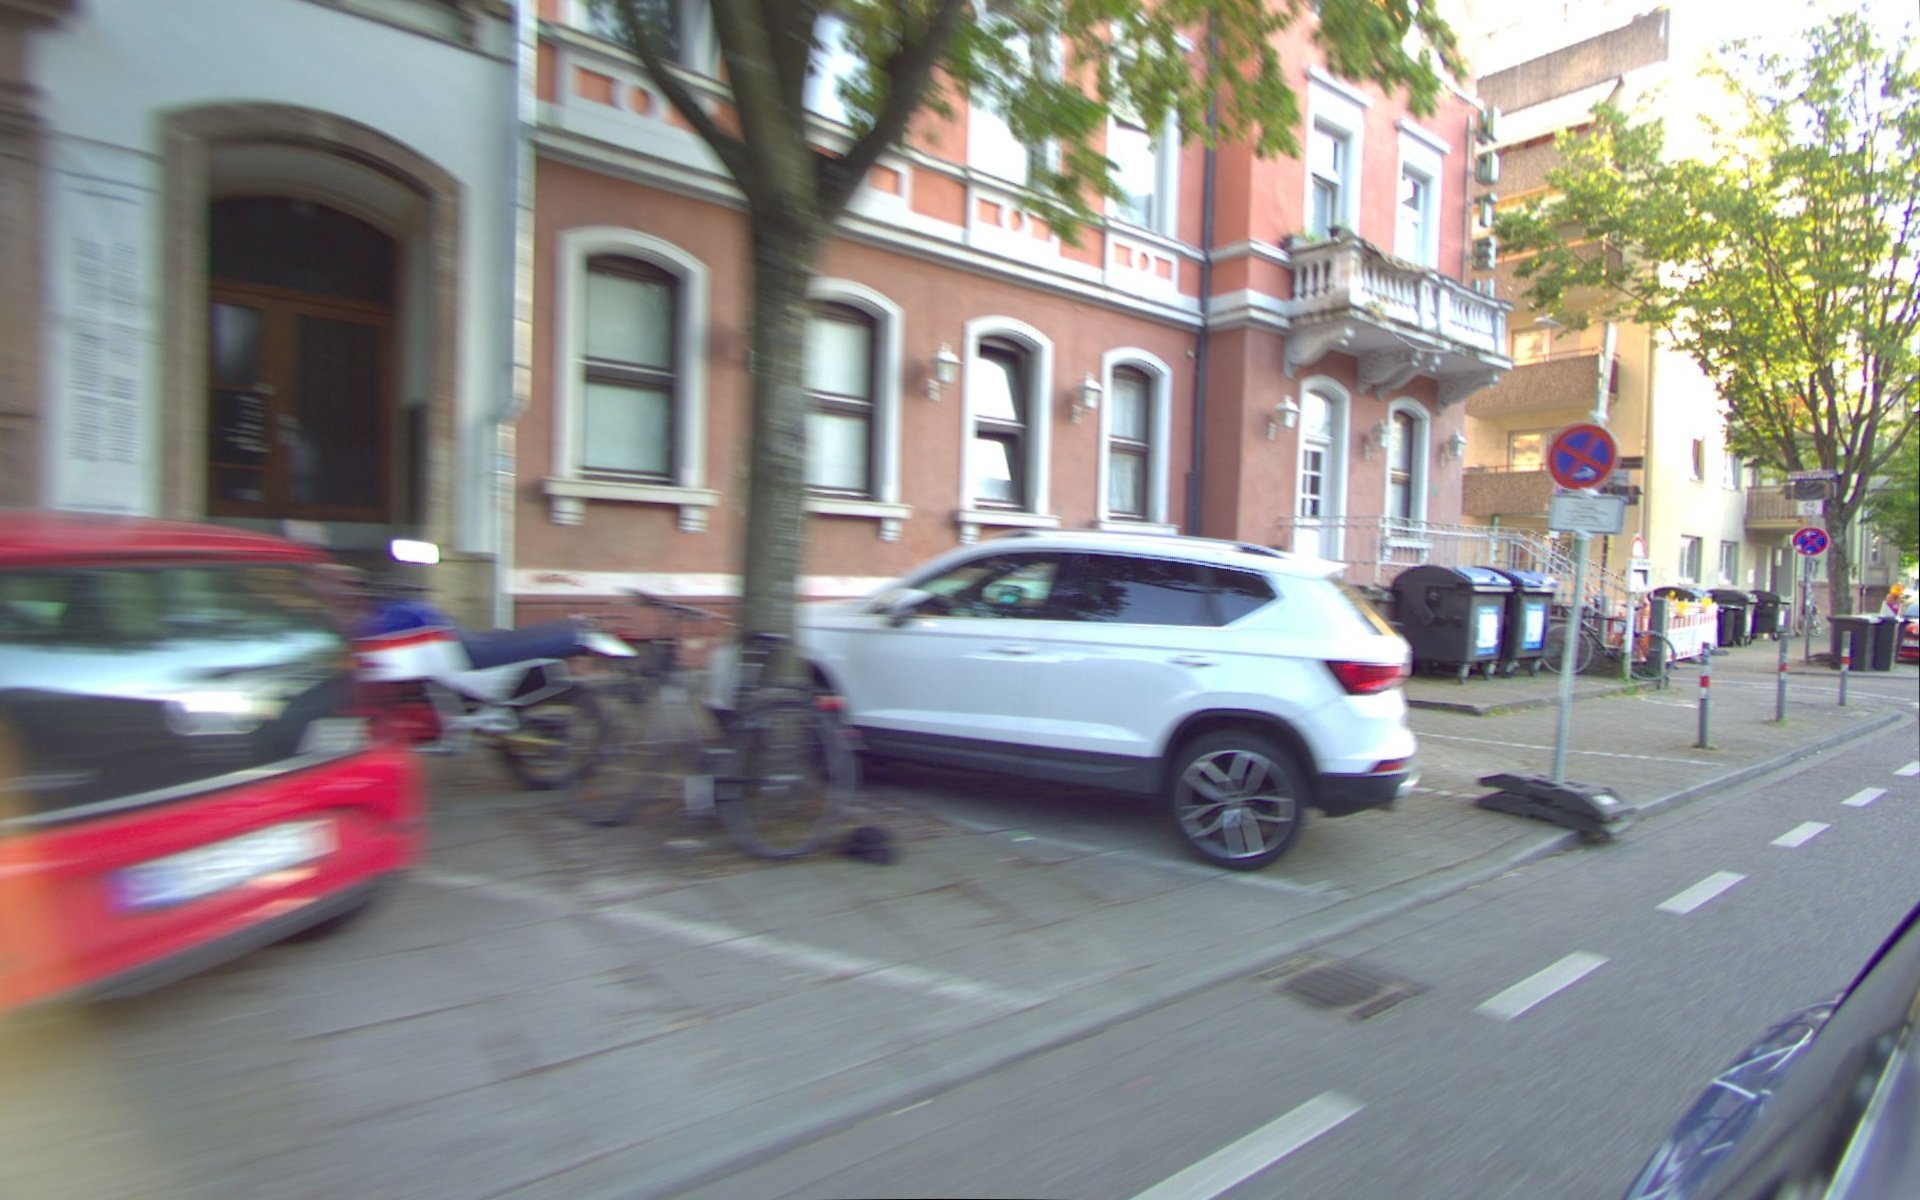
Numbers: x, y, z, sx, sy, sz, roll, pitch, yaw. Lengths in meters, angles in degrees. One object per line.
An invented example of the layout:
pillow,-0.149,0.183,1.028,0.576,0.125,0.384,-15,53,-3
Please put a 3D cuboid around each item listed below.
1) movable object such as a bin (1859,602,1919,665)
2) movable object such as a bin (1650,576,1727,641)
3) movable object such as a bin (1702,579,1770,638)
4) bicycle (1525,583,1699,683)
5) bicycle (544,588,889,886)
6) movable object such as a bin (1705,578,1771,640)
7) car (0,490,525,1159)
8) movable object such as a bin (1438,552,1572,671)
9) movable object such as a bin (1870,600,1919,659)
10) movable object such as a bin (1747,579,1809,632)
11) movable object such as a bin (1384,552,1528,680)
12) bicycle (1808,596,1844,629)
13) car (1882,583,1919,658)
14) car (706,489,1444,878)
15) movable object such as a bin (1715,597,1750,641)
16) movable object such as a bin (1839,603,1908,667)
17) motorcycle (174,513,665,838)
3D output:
movable object such as a bin,18.076,0.642,19.663,0.576,1.168,0.716,1,1,-26
movable object such as a bin,17.943,0.195,24.923,1.569,1.520,1.143,0,1,-39
movable object such as a bin,20.870,0.204,27.220,1.247,1.520,1.143,0,1,-39
bicycle,9.063,0.431,14.141,1.893,1.282,0.598,2,2,18
bicycle,-1.181,0.558,4.752,1.655,1.088,0.459,6,3,29
movable object such as a bin,19.857,0.216,25.827,1.295,1.520,1.074,0,1,-40
car,-3.769,0.350,3.498,3.902,1.495,1.821,4,3,17
movable object such as a bin,7.416,0.134,13.783,1.373,1.520,1.143,0,1,-39
movable object such as a bin,19.200,0.596,20.646,0.612,1.168,0.715,1,1,5
movable object such as a bin,24.220,0.149,29.956,1.455,1.520,1.116,0,1,-39
movable object such as a bin,6.315,0.174,12.886,1.373,1.520,1.143,0,1,-39
bicycle,29.690,0.426,34.694,1.528,1.088,0.652,0,1,-39
car,21.879,0.470,22.174,3.621,1.554,1.571,0,4,-34
car,0.621,0.284,6.093,3.909,1.646,1.662,4,3,22
movable object such as a bin,19.203,0.472,25.156,0.561,1.060,0.555,0,1,-40
movable object such as a bin,17.477,0.651,19.367,0.576,1.168,0.797,1,1,-26
motorcycle,-2.633,0.306,5.179,2.035,1.409,0.878,0,3,-24
